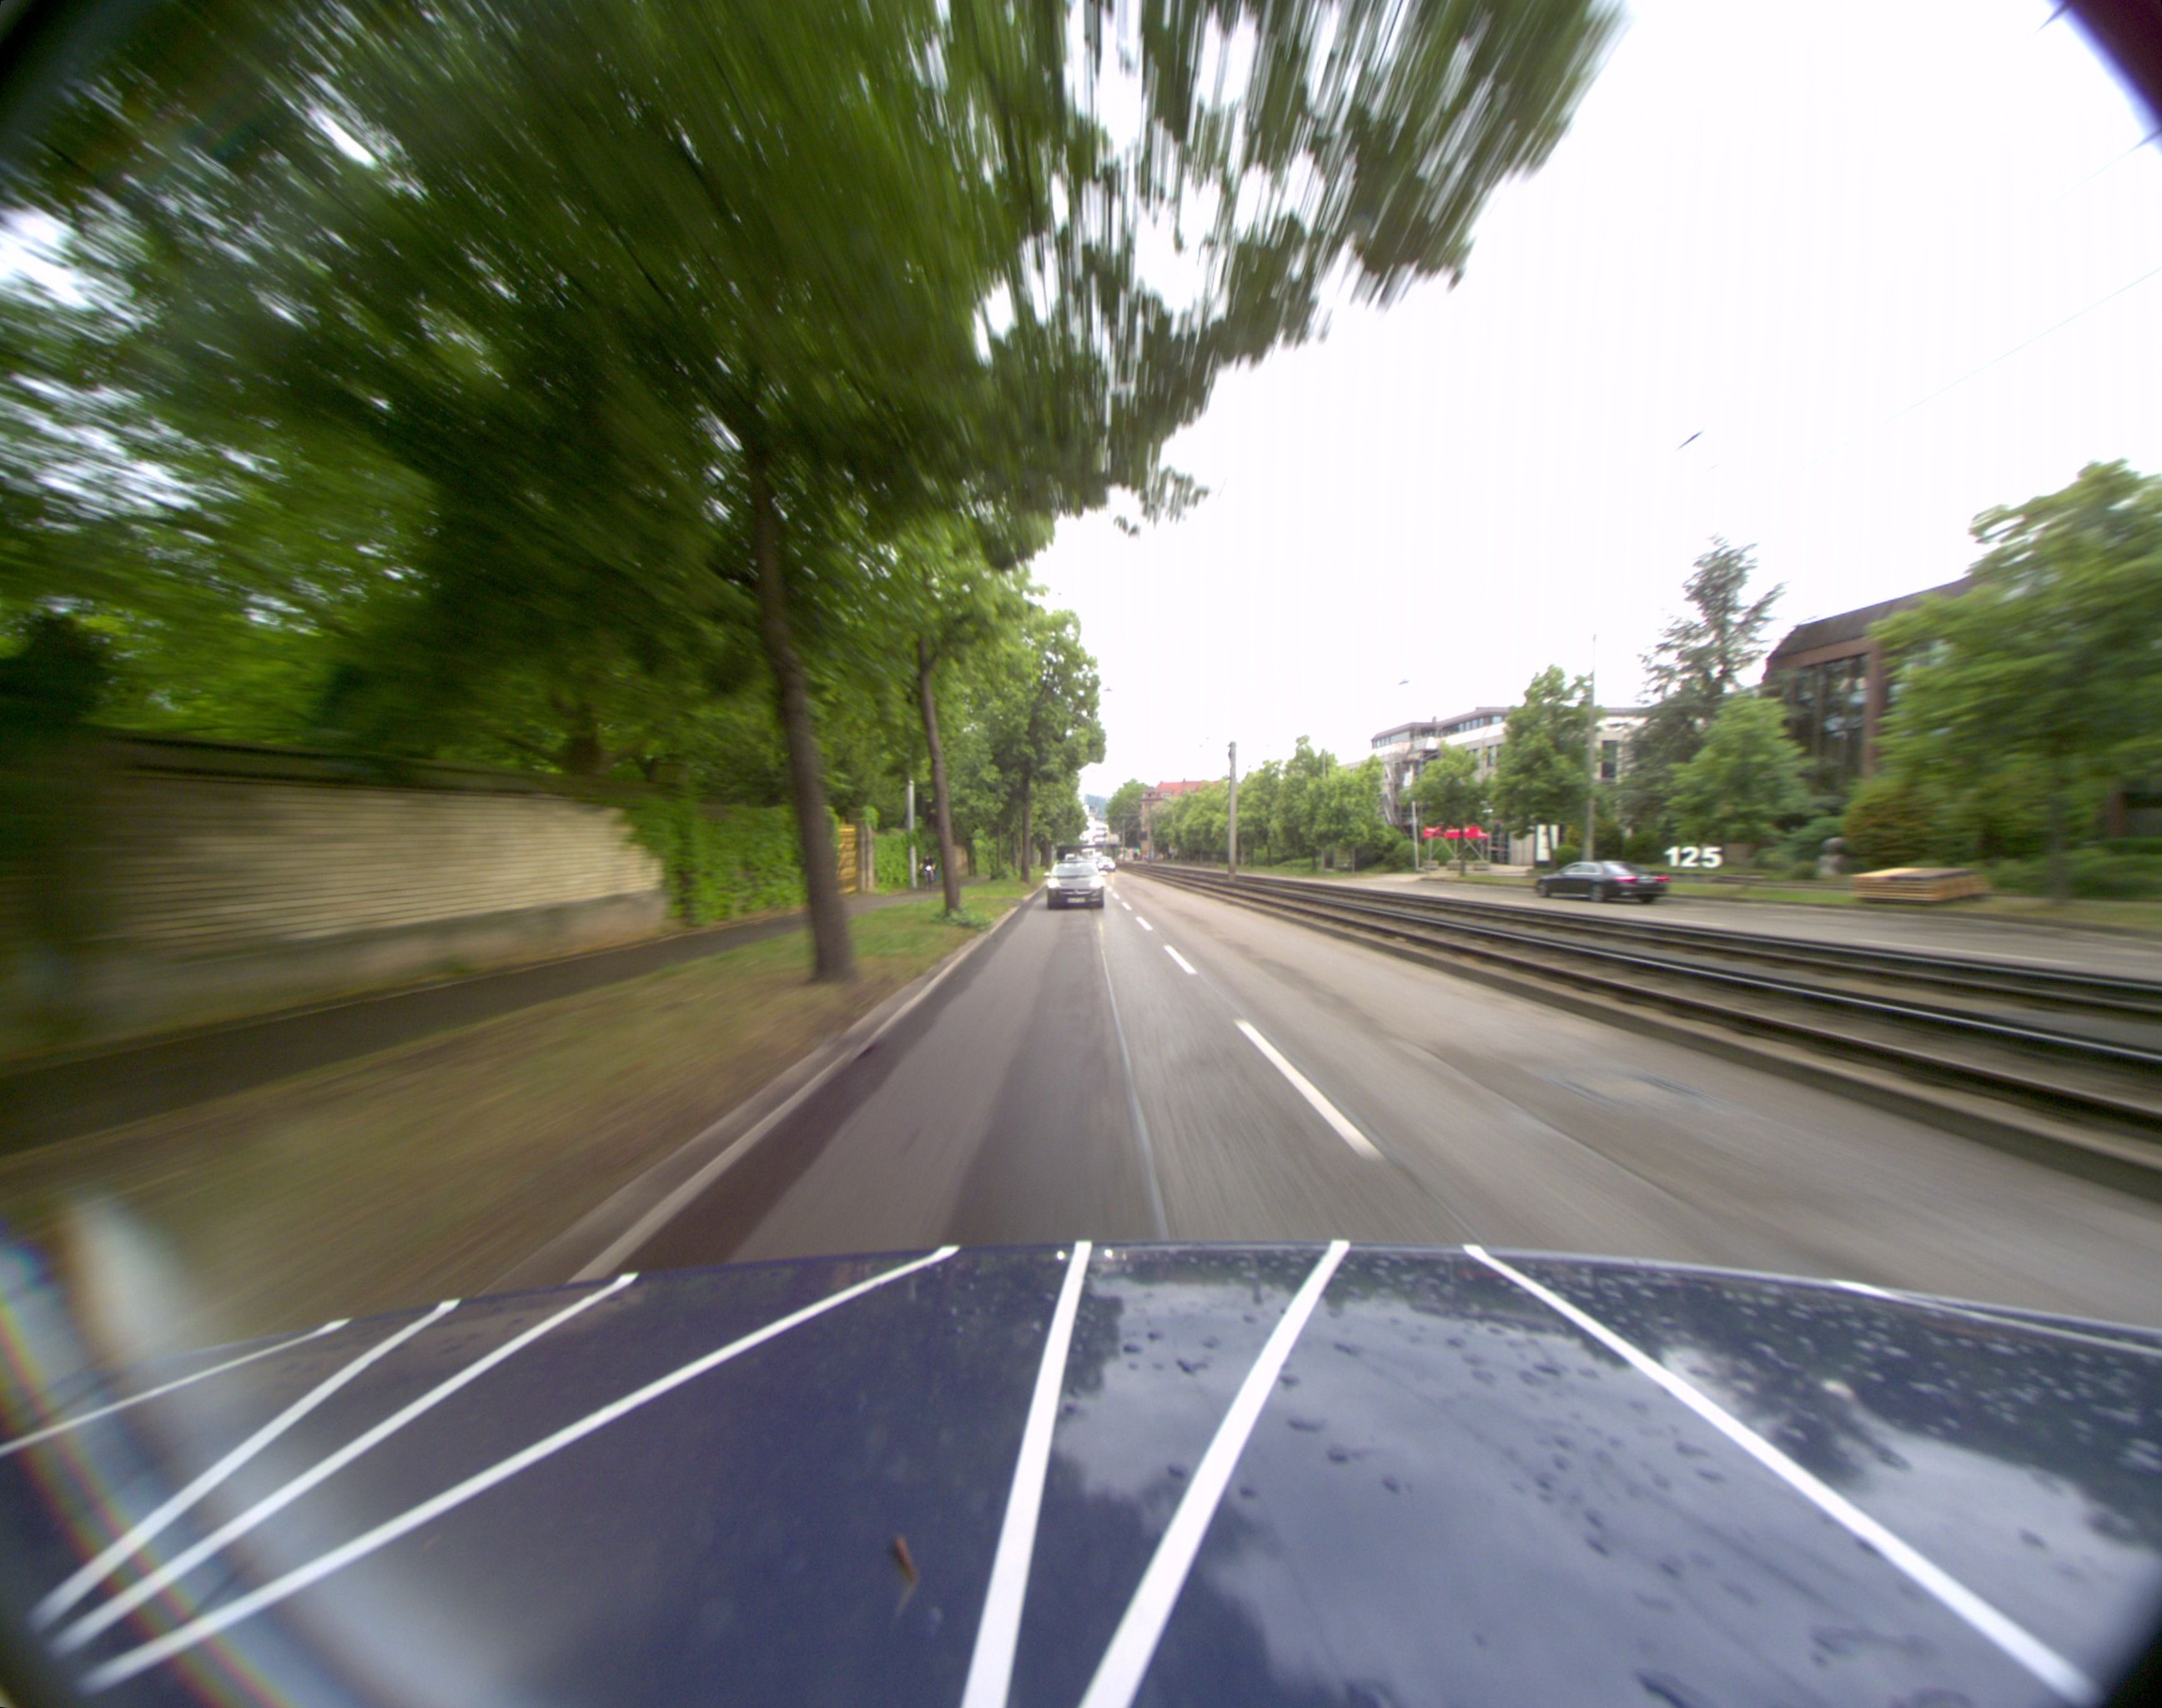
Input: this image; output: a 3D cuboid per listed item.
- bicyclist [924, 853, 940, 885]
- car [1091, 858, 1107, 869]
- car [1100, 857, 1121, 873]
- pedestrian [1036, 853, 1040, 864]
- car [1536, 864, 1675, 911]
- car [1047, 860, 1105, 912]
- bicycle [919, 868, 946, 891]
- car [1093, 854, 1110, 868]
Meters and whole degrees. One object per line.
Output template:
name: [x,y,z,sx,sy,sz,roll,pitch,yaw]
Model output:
bicyclist: [-6.444,0.630,32.949,0.536,1.381,0.666,0,1,3]
car: [2.986,1.556,125.873,2.000,1.801,3.997,-1,0,-7]
car: [2.788,1.002,73.325,1.807,1.483,4.102,0,0,-1]
pedestrian: [-6.957,0.688,123.070,0.710,1.769,0.900,-1,0,-3]
car: [19.075,1.149,27.926,1.799,1.521,4.621,0,0,-2]
car: [-0.191,0.934,23.861,1.658,1.483,3.829,0,0,-1]
bicycle: [-6.434,1.094,33.095,0.544,0.942,2.550,0,0,3]
car: [2.359,0.807,88.479,1.807,1.483,4.102,0,0,-1]
